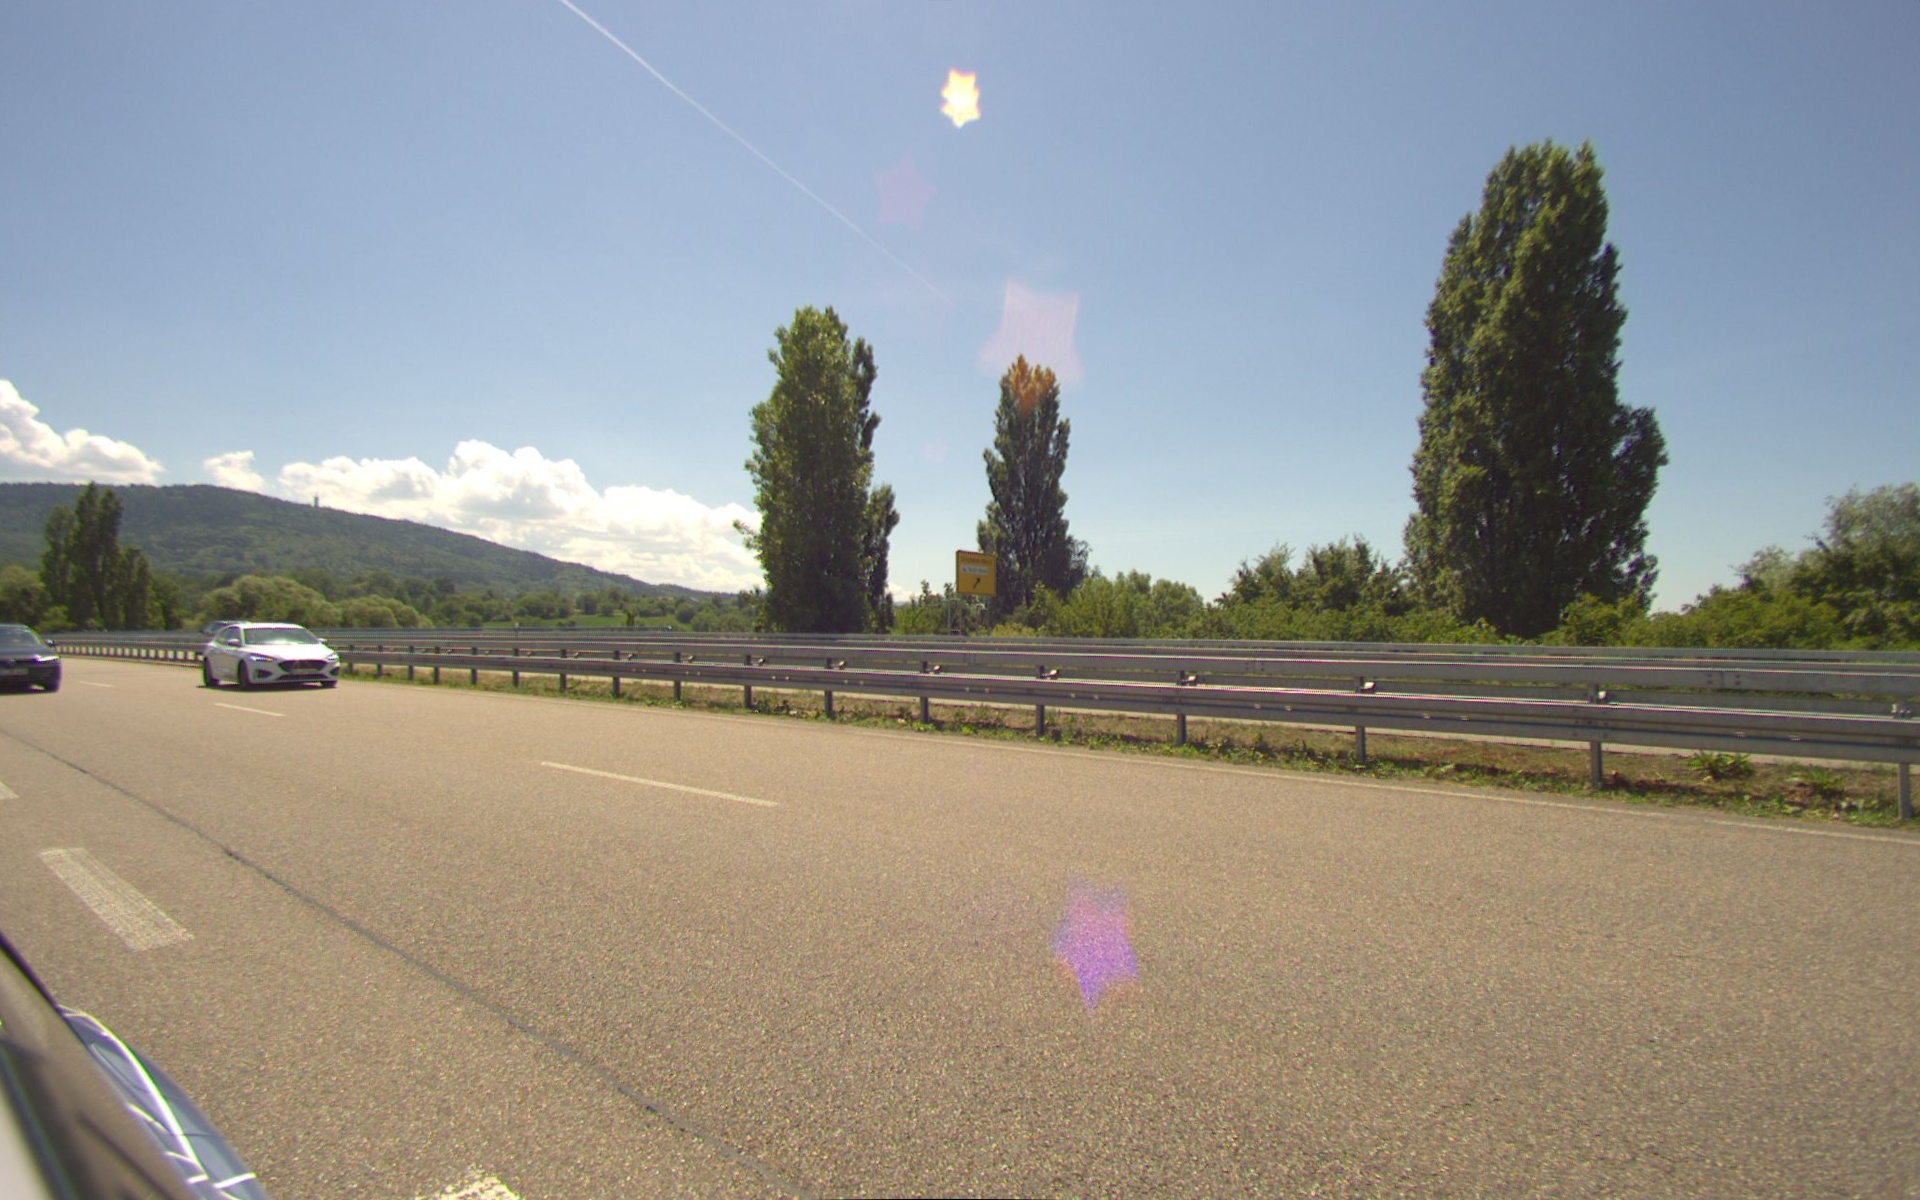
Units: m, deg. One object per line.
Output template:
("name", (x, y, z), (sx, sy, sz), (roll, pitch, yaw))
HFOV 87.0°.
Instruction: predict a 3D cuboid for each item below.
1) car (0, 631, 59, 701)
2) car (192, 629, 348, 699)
("car", (-21.323, 1.423, 22.141), (4.467, 1.418, 1.822), (-2, -2, 41))
("car", (-15.837, 1.389, 23.157), (4.466, 1.418, 1.822), (-2, -1, 40))
